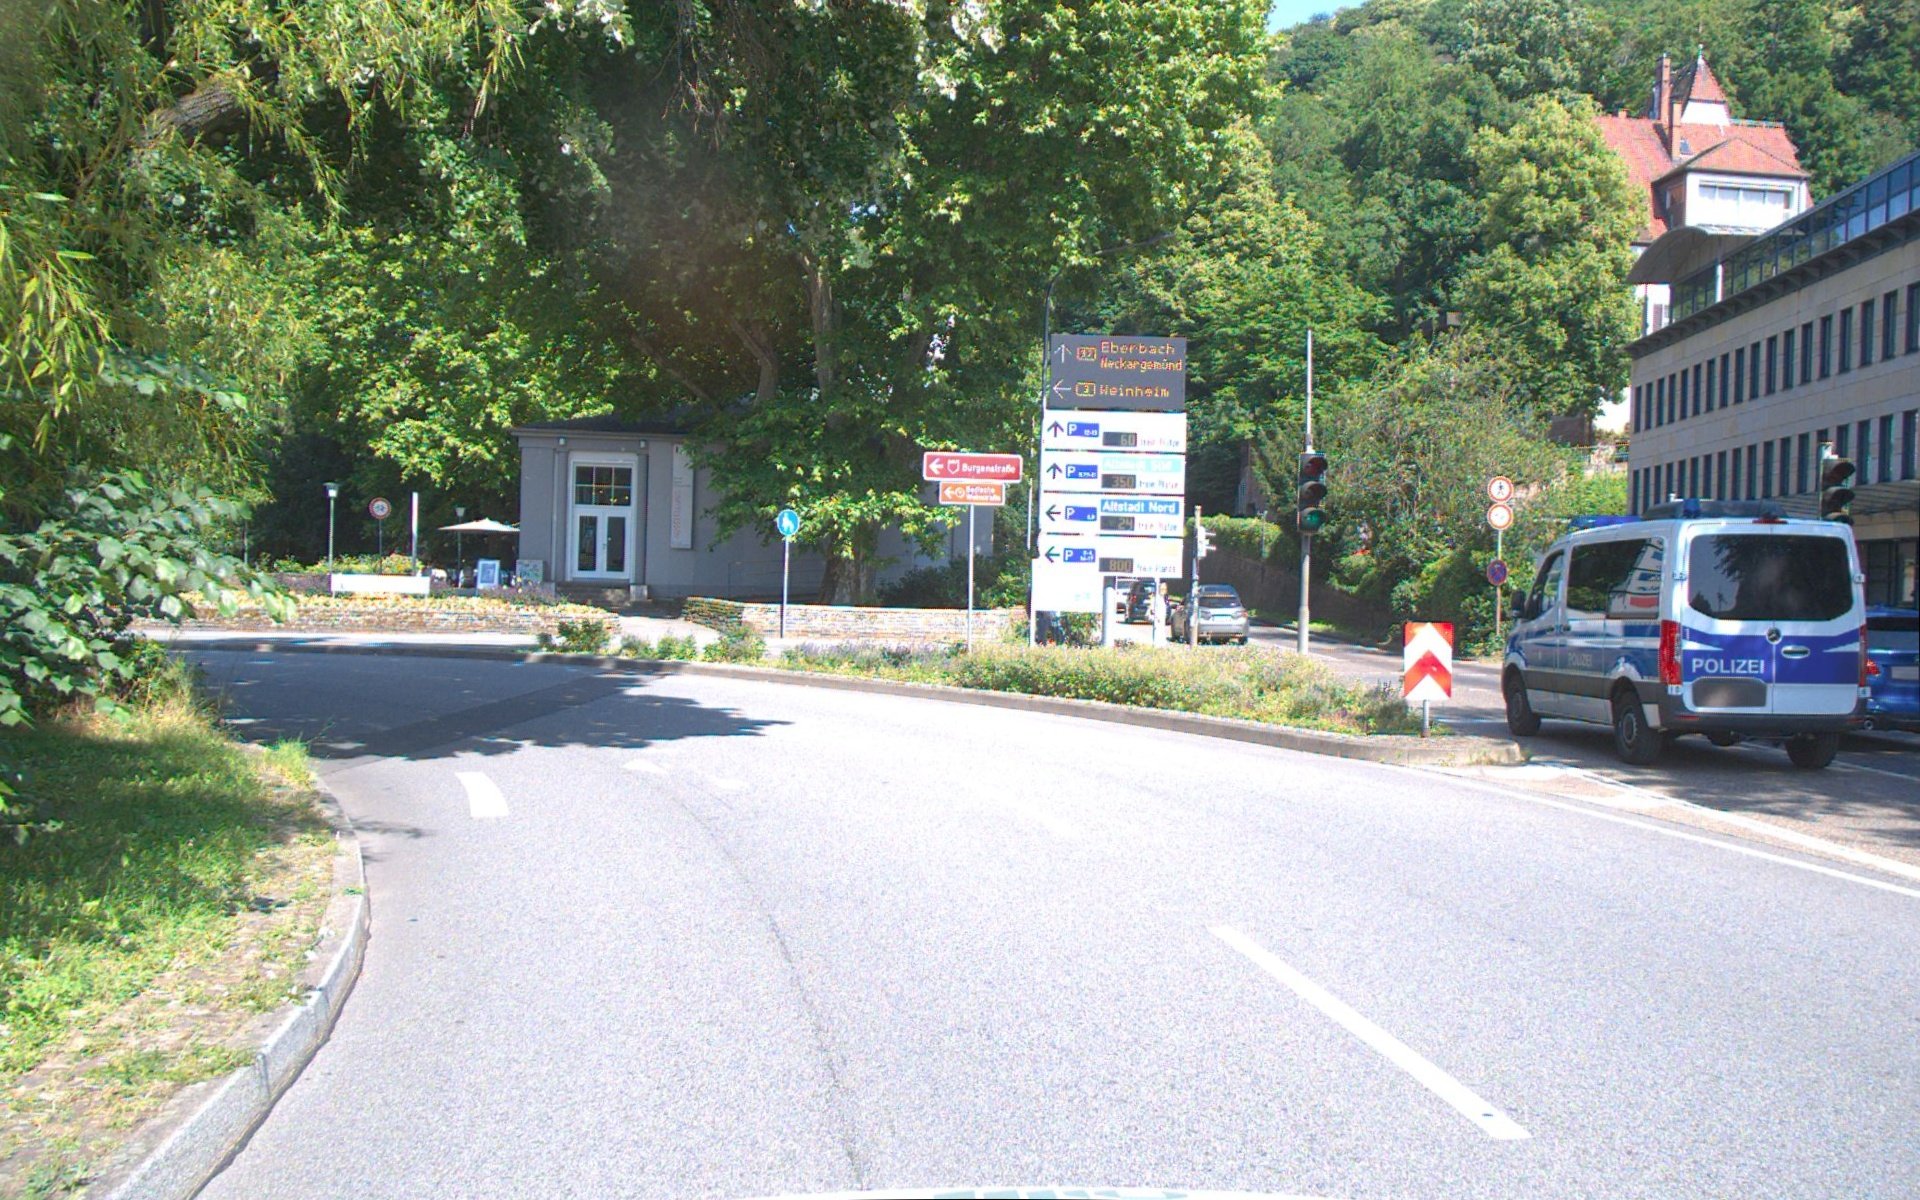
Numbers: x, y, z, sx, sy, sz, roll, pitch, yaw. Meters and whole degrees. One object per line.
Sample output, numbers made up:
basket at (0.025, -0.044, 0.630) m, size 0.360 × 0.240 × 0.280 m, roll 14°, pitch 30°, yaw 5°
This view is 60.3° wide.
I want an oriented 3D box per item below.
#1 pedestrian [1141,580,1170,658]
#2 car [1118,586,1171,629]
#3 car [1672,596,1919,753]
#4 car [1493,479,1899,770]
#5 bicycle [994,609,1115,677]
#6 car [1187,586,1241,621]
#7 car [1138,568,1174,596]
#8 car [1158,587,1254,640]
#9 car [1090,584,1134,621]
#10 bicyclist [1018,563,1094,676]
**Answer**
pedestrian at (4.192, 0.405, 35.431) m, size 0.535 × 1.649 × 0.635 m, roll 1°, pitch 1°, yaw 12°
car at (6.756, 0.245, 60.900) m, size 1.719 × 1.486 × 3.495 m, roll 2°, pitch 1°, yaw 3°
car at (10.277, 0.804, 19.614) m, size 1.684 × 1.568 × 4.271 m, roll 3°, pitch 1°, yaw -1°
car at (7.437, 0.211, 17.397) m, size 2.031 × 2.552 × 4.929 m, roll 2°, pitch 0°, yaw 0°
bicycle at (1.695, 0.754, 29.769) m, size 2.037 × 1.132 × 0.756 m, roll 2°, pitch 1°, yaw 28°
car at (9.857, 0.120, 64.312) m, size 1.719 × 1.234 × 3.495 m, roll 2°, pitch 1°, yaw 3°
car at (10.967, -0.987, 92.558) m, size 1.719 × 1.486 × 3.647 m, roll 2°, pitch 1°, yaw 3°
car at (6.888, 0.352, 46.685) m, size 1.723 × 1.357 × 3.796 m, roll 2°, pitch 1°, yaw -7°
car at (6.576, 0.097, 71.949) m, size 1.719 × 1.486 × 3.647 m, roll 2°, pitch 1°, yaw 3°
bicyclist at (1.725, 0.336, 29.747) m, size 1.104 × 1.966 × 0.747 m, roll 2°, pitch 0°, yaw 28°
